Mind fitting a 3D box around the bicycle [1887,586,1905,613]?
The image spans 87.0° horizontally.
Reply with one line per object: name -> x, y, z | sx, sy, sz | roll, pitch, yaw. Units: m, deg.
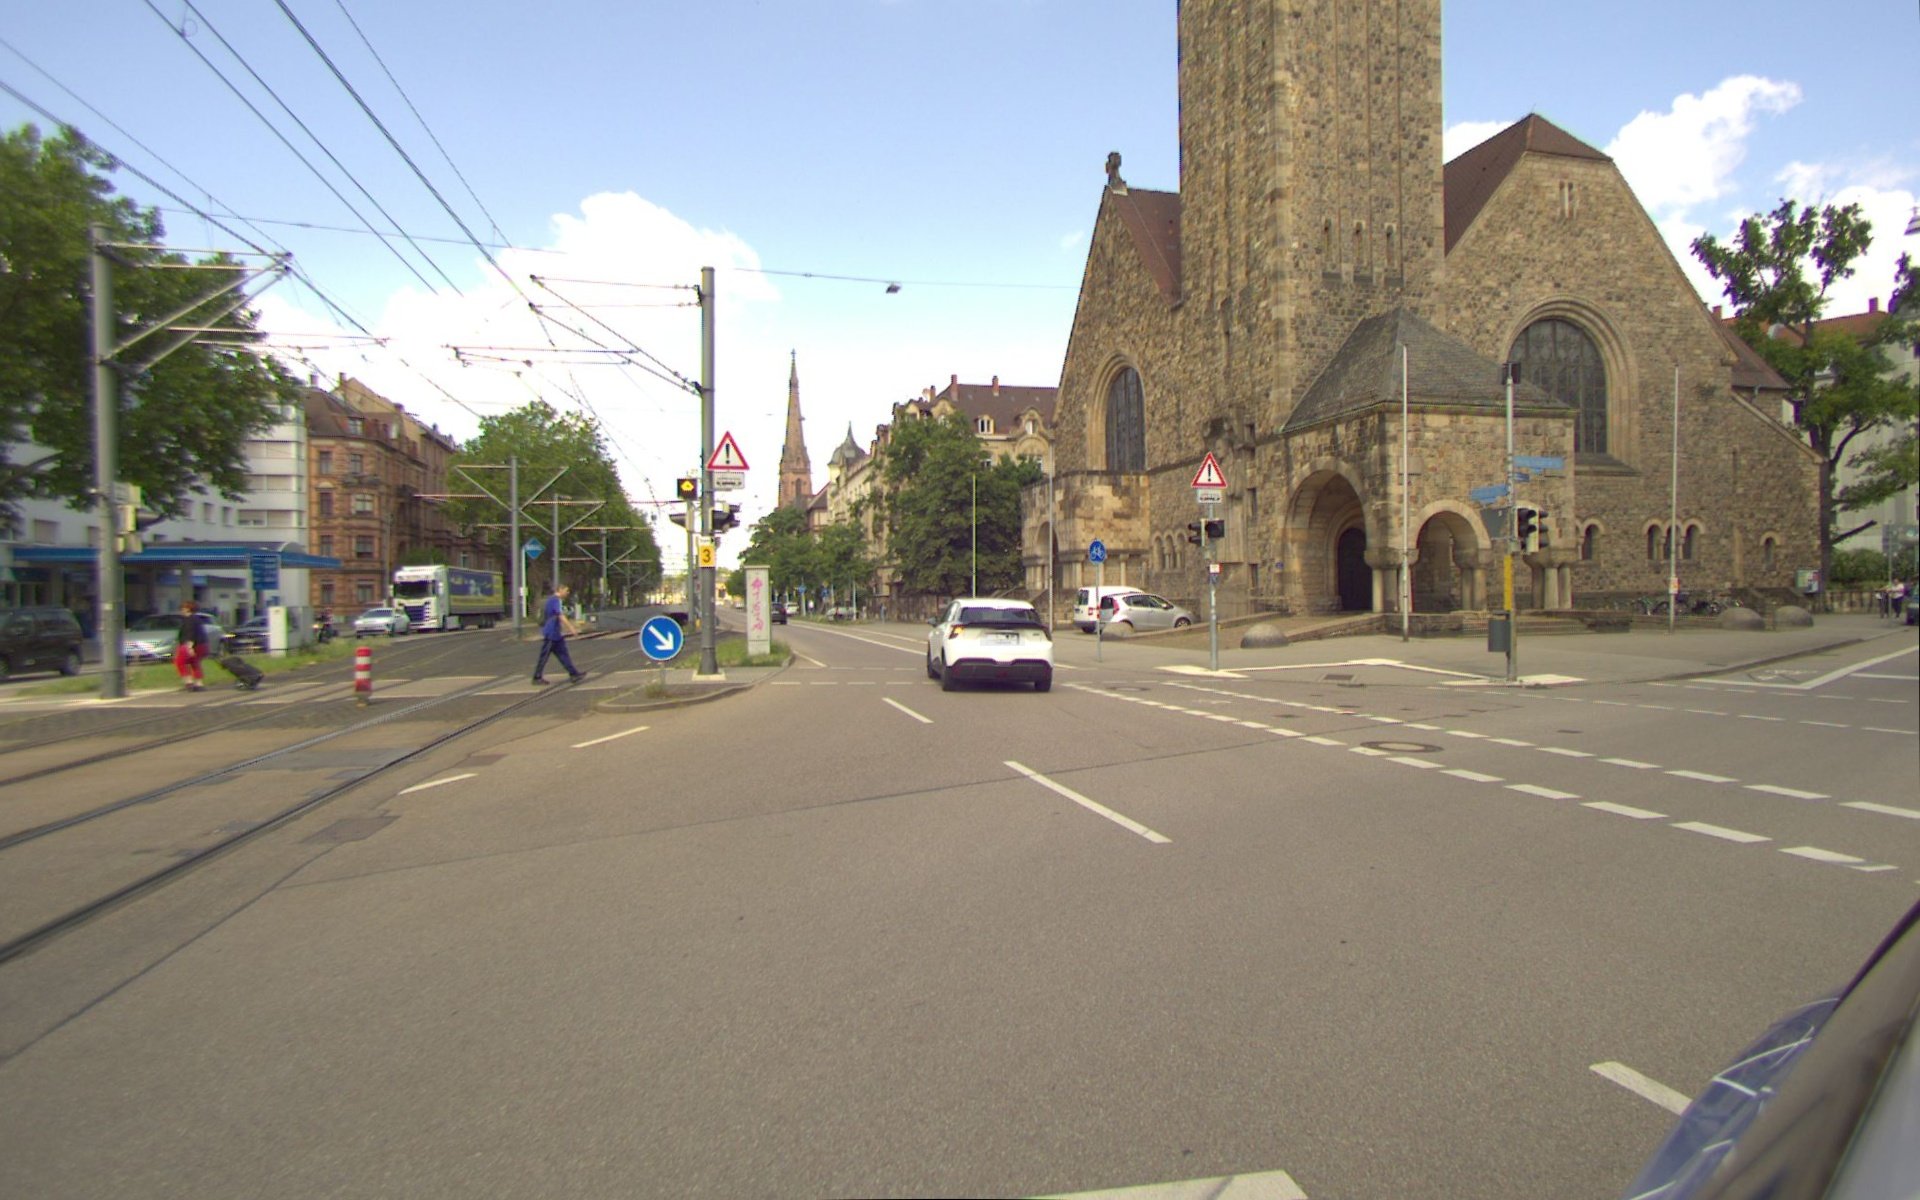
bicycle -> 37.773, -0.021, 40.836 | 0.479, 1.065, 1.420 | -1, 0, 45

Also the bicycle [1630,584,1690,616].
bicycle -> 27.292, -0.017, 39.506 | 0.574, 1.125, 1.944 | -1, 3, -18

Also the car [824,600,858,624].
car -> -8.123, 0.824, 68.950 | 1.752, 1.514, 3.844 | -2, 0, -14

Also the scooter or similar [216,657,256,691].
scooter or similar -> -12.545, 1.279, 17.550 | 0.511, 0.542, 0.311 | 1, -1, -27

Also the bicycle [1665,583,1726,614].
bicycle -> 28.939, -0.062, 39.849 | 0.574, 1.125, 1.944 | -1, 3, -18

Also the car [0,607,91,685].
car -> -23.152, 1.087, 24.161 | 1.816, 1.748, 4.427 | -1, 0, -13

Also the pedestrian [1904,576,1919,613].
pedestrian -> 38.124, -0.232, 40.500 | 0.547, 1.474, 0.465 | -1, -1, -44

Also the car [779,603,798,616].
car -> -17.615, 1.004, 104.098 | 1.621, 1.249, 3.069 | -2, 0, -14

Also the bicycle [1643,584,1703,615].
bicycle -> 27.964, -0.036, 39.707 | 0.574, 1.125, 1.944 | -1, 3, -18

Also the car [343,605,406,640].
car -> -31.482, 1.164, 54.530 | 1.816, 1.727, 4.142 | -1, 0, -14

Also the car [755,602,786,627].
car -> -12.685, 0.934, 67.518 | 1.748, 1.554, 4.394 | 0, 0, -14

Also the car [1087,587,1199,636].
car -> 6.604, 0.434, 36.637 | 3.561, 1.700, 1.822 | 0, -2, -17

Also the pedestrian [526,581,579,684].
pedestrian -> -7.149, 0.562, 17.791 | 0.756, 1.753, 0.745 | -1, 0, -15

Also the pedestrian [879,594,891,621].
pedestrian -> -4.802, 0.479, 64.637 | 0.645, 1.686, 0.847 | -1, 0, -12

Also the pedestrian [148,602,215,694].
pedestrian -> -13.153, 0.794, 17.115 | 0.760, 1.511, 0.659 | 1, -1, -27

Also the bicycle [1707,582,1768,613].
bicycle -> 31.140, -0.126, 40.553 | 0.574, 1.125, 1.944 | -1, 3, -18

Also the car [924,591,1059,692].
car -> 0.424, 0.636, 17.693 | 1.784, 1.525, 4.135 | 1, 0, -6

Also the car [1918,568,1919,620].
car -> 35.849, -0.250, 36.253 | 4.070, 1.814, 1.682 | -1, 0, -39

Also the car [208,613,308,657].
car -> -27.018, 1.312, 39.098 | 1.816, 1.464, 3.981 | -1, 1, -13

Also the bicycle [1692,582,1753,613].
bicycle -> 30.377, -0.105, 40.357 | 0.574, 1.125, 1.944 | -1, 3, -18

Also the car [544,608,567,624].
car -> -44.320, 1.755, 110.960 | 1.766, 1.651, 4.008 | -1, 1, -14

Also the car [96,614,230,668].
car -> -25.131, 1.237, 32.104 | 1.698, 1.484, 4.335 | -1, 0, -14

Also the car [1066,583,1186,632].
car -> 6.562, 0.302, 40.136 | 4.214, 1.878, 2.003 | 0, -2, -15

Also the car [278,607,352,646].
car -> -28.679, 1.143, 45.103 | 1.651, 1.583, 3.760 | -1, 0, -14

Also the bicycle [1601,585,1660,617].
bicycle -> 25.830, 0.026, 39.012 | 0.574, 1.125, 1.944 | -1, 3, -18

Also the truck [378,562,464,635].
truck -> -33.030, -0.119, 62.273 | 2.857, 4.201, 6.603 | -1, 1, -12

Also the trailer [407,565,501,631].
trailer -> -34.593, -0.166, 69.687 | 2.857, 4.129, 11.673 | -1, 1, -12
